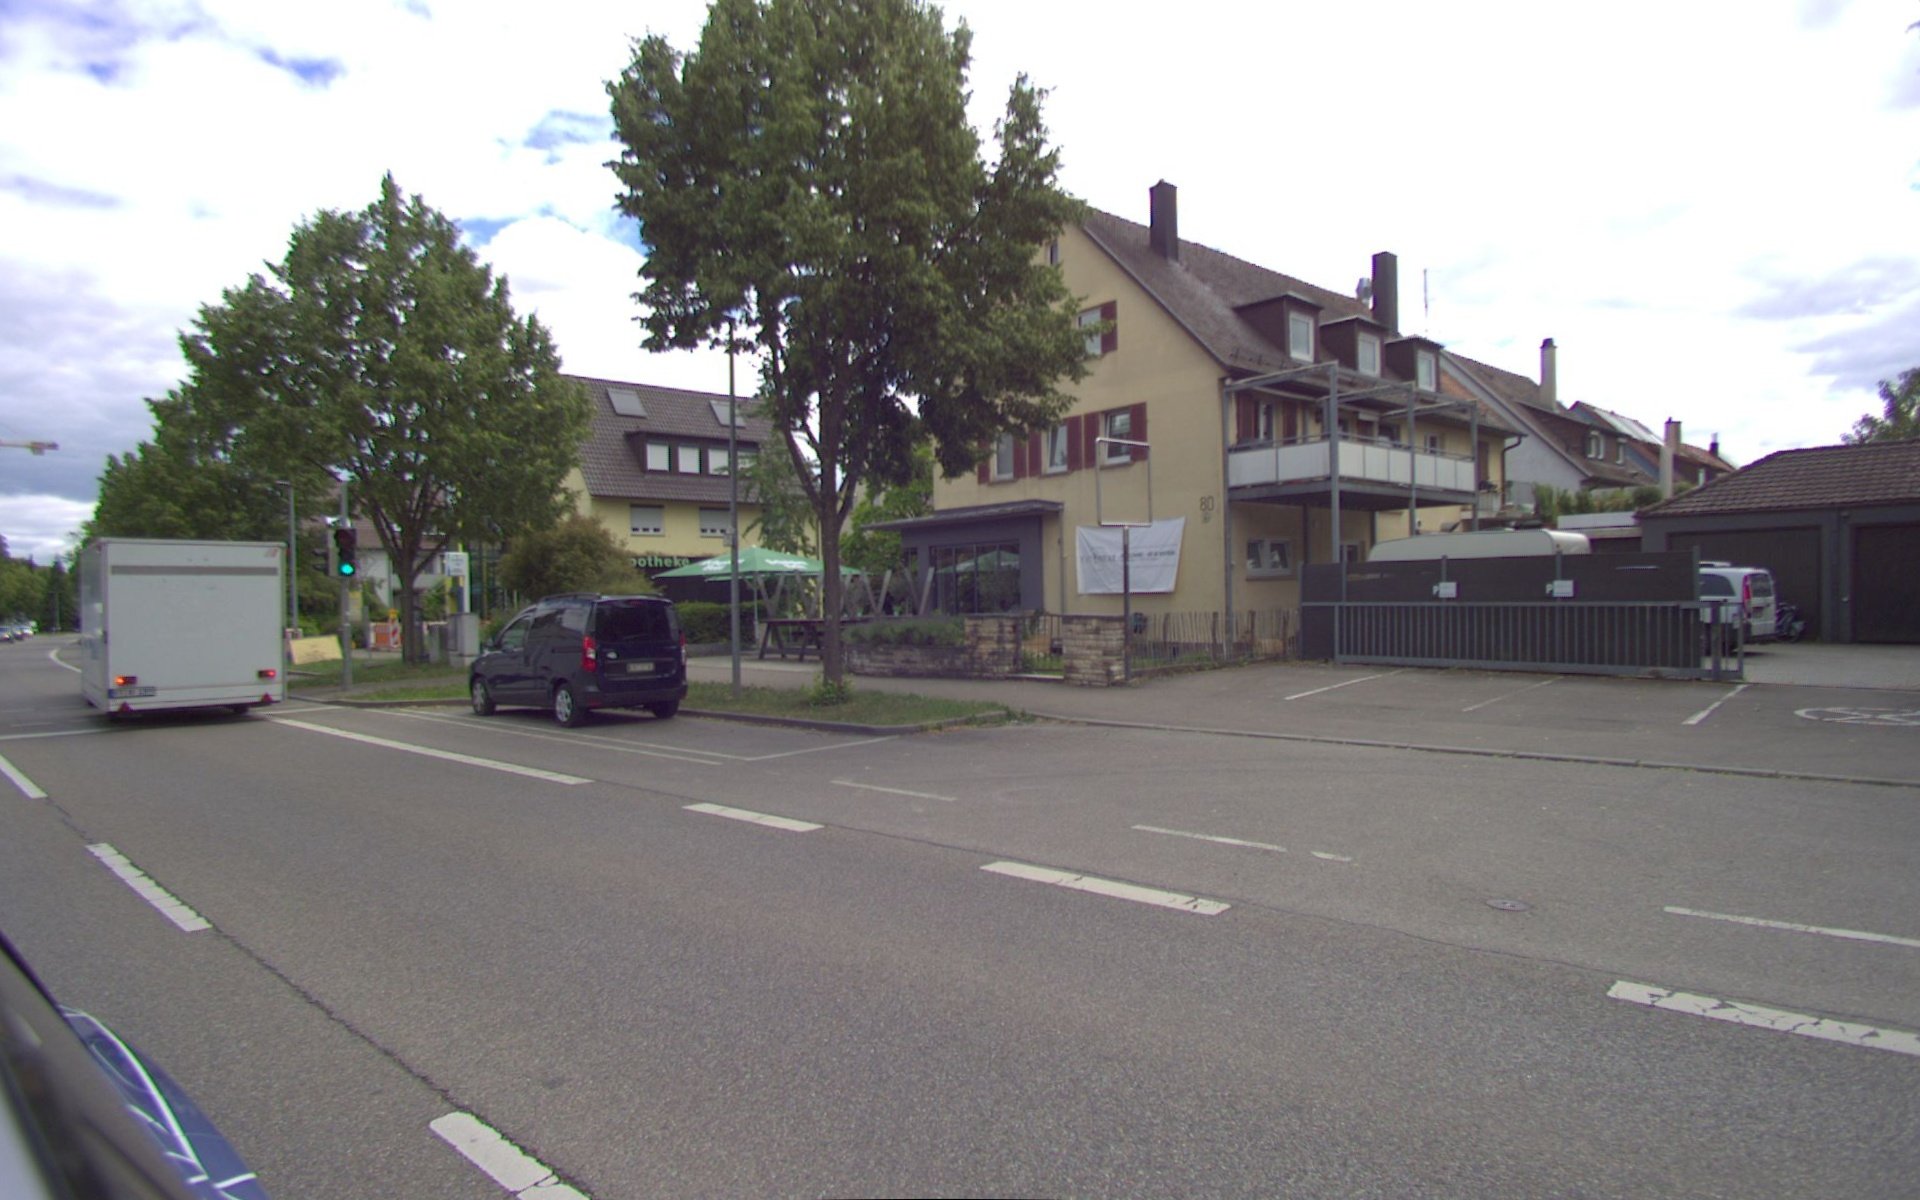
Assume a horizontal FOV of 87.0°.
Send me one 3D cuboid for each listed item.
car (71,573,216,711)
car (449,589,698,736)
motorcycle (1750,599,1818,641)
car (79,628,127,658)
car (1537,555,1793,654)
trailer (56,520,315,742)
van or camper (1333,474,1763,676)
[{"bbox_3d":[-17.402,0.816,21.423,2.034,2.499,6.321,0,-1,-42],"label":"car"},{"bbox_3d":[-5.905,0.850,15.186,4.398,1.888,1.689,-2,-1,43],"label":"car"},{"bbox_3d":[19.745,0.482,24.273,0.626,0.973,1.149,-1,-1,-40],"label":"motorcycle"},{"bbox_3d":[-48.665,2.389,57.532,1.862,1.586,4.008,-1,-1,-37],"label":"car"},{"bbox_3d":[15.906,0.128,23.052,1.967,2.029,4.339,-1,-1,-35],"label":"car"},{"bbox_3d":[-12.903,0.469,16.601,2.604,2.900,6.876,-1,-1,-44],"label":"trailer"},{"bbox_3d":[9.965,-0.312,17.691,2.564,2.905,5.946,-1,-1,-40],"label":"van or camper"}]
